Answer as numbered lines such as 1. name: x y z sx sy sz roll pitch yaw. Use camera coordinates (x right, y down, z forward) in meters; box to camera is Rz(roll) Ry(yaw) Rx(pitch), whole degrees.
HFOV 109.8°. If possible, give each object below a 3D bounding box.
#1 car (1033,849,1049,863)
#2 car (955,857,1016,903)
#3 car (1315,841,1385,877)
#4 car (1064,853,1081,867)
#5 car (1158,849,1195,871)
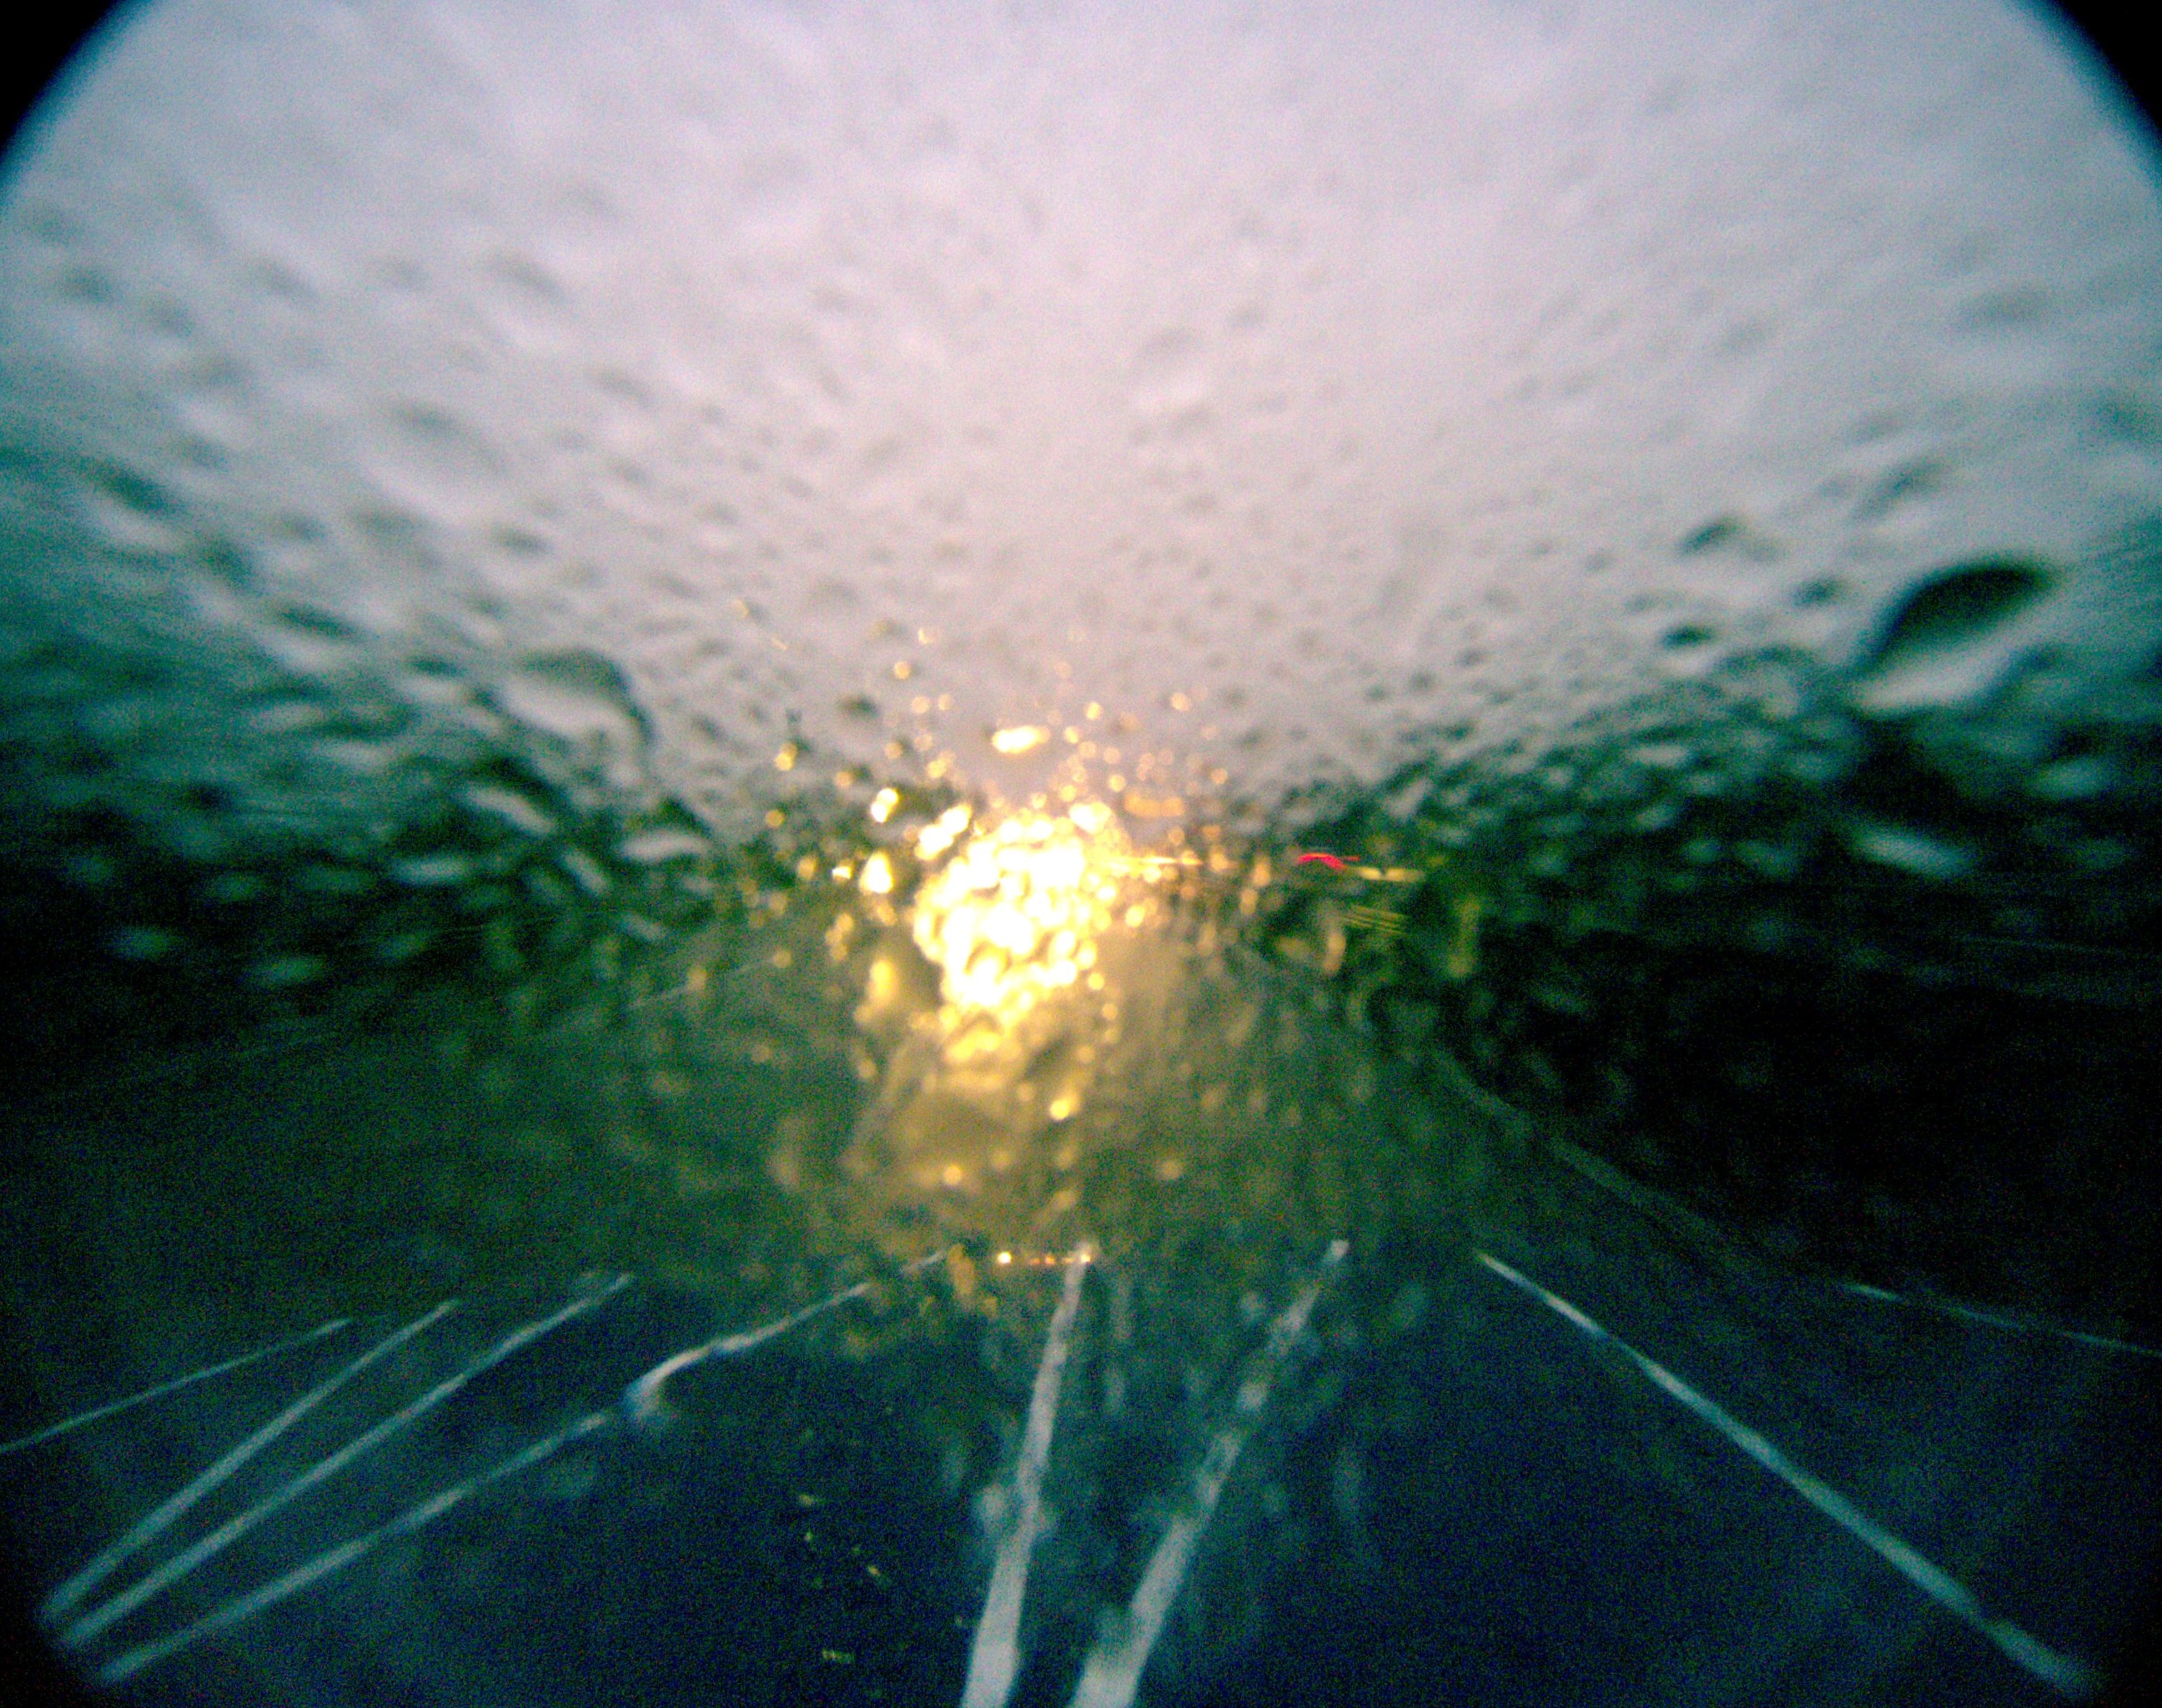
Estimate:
1. car: -4.460 0.206 84.618 1.632 1.465 3.999 -1 0 -4
2. car: -3.415 0.900 27.920 1.802 1.494 3.999 -2 0 -2
3. car: 11.535 0.204 32.811 1.605 1.415 3.546 -1 0 -2
4. car: -0.909 0.616 80.313 1.632 1.465 4.000 -1 0 -2
5. car: 7.063 0.412 56.689 1.882 1.415 4.424 6 0 -2
